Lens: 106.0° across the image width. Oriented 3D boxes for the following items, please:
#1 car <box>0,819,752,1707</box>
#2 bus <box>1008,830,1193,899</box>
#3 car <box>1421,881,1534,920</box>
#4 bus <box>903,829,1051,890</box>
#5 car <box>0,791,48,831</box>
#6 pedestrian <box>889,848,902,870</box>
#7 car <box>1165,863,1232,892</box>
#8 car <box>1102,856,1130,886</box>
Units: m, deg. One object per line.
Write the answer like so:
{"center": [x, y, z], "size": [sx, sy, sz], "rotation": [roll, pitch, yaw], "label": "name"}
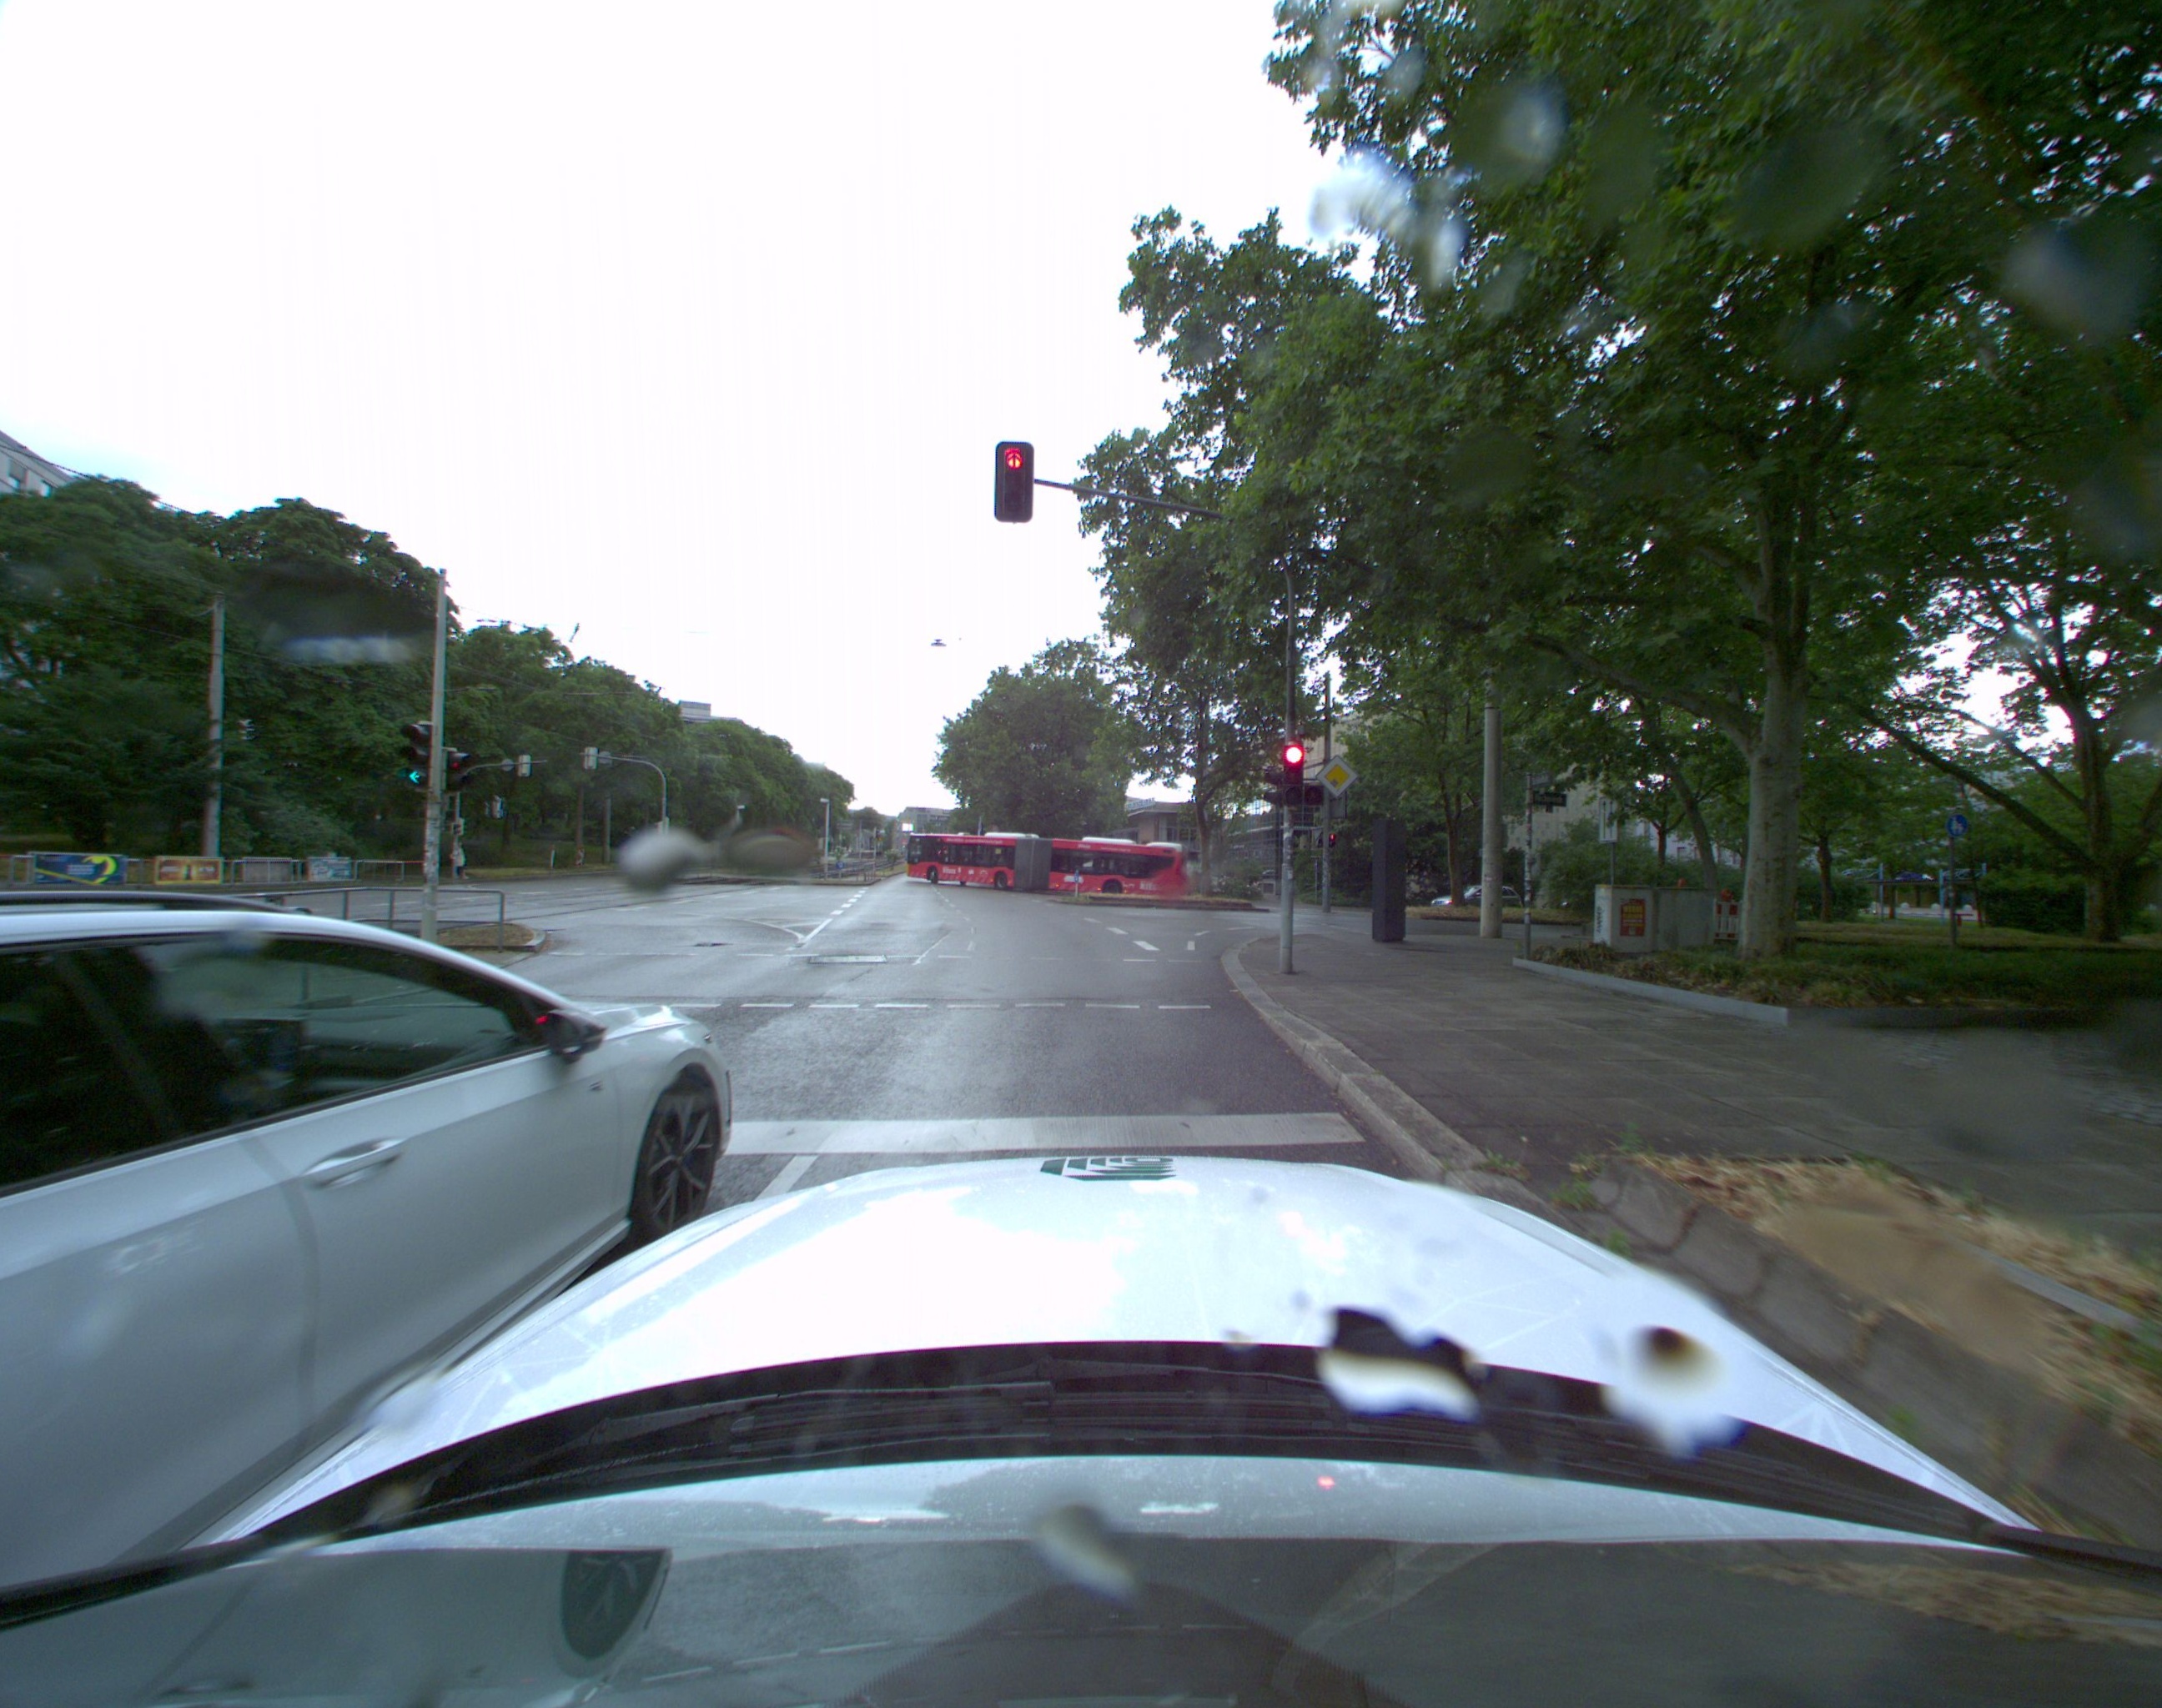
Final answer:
{"center": [-2.389, 0.729, 1.551], "size": [1.673, 1.576, 4.254], "rotation": [1, 0, 2], "label": "car"}
{"center": [1.015, 0.515, 42.428], "size": [9.085, 3.111, 2.675], "rotation": [2, -1, 16], "label": "bus"}
{"center": [17.355, 2.036, 35.724], "size": [3.980, 1.442, 1.997], "rotation": [3, -1, -5], "label": "car"}
{"center": [-6.163, 0.242, 46.857], "size": [9.335, 3.111, 2.574], "rotation": [2, -2, 39], "label": "bus"}
{"center": [-52.911, -2.135, 39.417], "size": [2.005, 1.794, 4.172], "rotation": [3, -1, -28], "label": "car"}
{"center": [-14.598, 0.381, 64.060], "size": [0.736, 1.640, 0.869], "rotation": [3, -1, -4], "label": "pedestrian"}
{"center": [9.150, 1.835, 63.589], "size": [4.762, 1.943, 1.986], "rotation": [3, -1, -20], "label": "car"}
{"center": [3.941, 1.914, 92.243], "size": [2.539, 3.134, 5.024], "rotation": [3, -1, -3], "label": "car"}
